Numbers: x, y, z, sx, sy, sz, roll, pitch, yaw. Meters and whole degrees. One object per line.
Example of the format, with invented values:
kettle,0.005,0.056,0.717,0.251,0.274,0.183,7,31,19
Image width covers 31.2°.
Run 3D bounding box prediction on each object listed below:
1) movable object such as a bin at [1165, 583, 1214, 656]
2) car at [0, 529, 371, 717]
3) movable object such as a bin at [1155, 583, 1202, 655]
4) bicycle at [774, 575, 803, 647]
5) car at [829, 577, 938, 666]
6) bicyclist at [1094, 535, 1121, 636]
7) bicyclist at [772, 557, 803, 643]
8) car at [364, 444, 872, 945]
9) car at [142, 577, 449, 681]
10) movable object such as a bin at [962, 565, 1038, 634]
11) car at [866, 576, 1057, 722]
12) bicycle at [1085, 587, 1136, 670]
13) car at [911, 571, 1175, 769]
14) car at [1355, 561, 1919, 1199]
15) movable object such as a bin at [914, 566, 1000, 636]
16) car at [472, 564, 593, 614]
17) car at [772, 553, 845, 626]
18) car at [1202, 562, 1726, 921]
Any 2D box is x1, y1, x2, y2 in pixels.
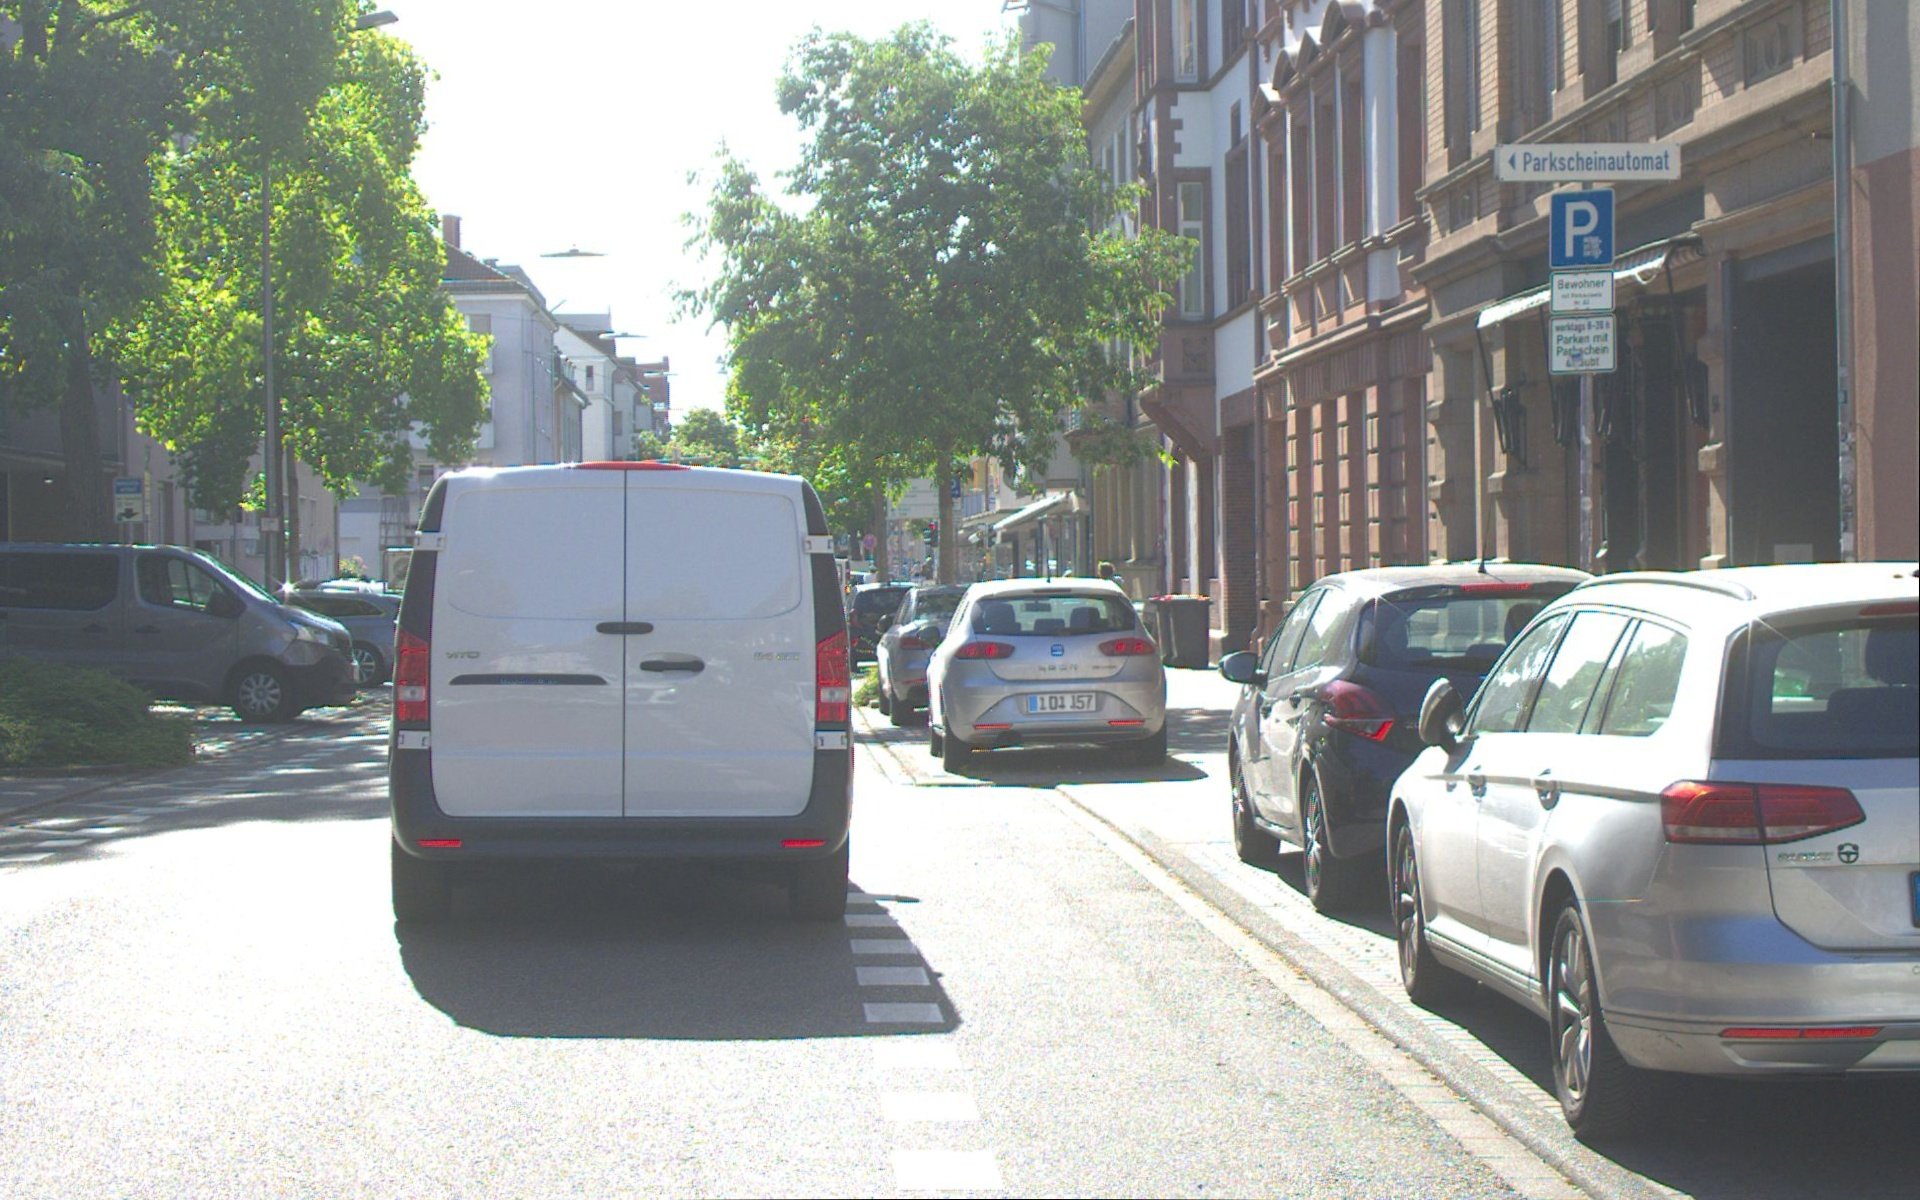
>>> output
movable object such as a bin,3.392,0.287,50.801,0.638,1.065,0.639,0,0,-4
car,-9.316,0.227,38.033,5.291,1.967,2.016,1,0,-3
movable object such as a bin,3.299,0.281,51.953,0.638,1.065,0.632,0,0,-4
bicycle,-3.060,0.192,61.294,0.475,1.270,1.218,-1,1,-4
car,-1.351,0.342,59.680,1.635,1.471,3.581,-1,0,-5
bicyclist,2.155,-0.213,50.293,0.361,1.472,0.530,0,0,1
bicyclist,-3.076,-0.004,61.274,0.439,1.503,0.497,-4,1,-4
car,-1.669,0.337,15.639,1.920,1.907,4.889,1,1,-9
car,-10.036,0.426,52.100,4.305,1.455,1.762,1,0,-1
movable object such as a bin,0.796,-0.018,68.715,1.040,1.343,1.106,-1,1,36
car,-0.045,0.477,36.766,1.738,1.446,4.308,-1,1,-4
bicycle,2.197,0.411,50.304,0.536,1.145,2.124,-5,0,0
car,0.591,0.500,27.506,1.738,1.446,4.001,-1,1,-4
car,2.373,0.633,10.085,1.785,1.455,4.517,-2,1,-1
movable object such as a bin,-0.058,0.013,67.721,1.108,1.343,1.268,-1,1,45
car,-14.329,-0.379,115.258,3.986,1.634,2.000,0,0,-6
car,-4.156,-0.308,93.739,1.815,1.914,4.645,0,1,-4
car,2.230,0.573,16.143,1.709,1.475,3.711,0,0,-3
